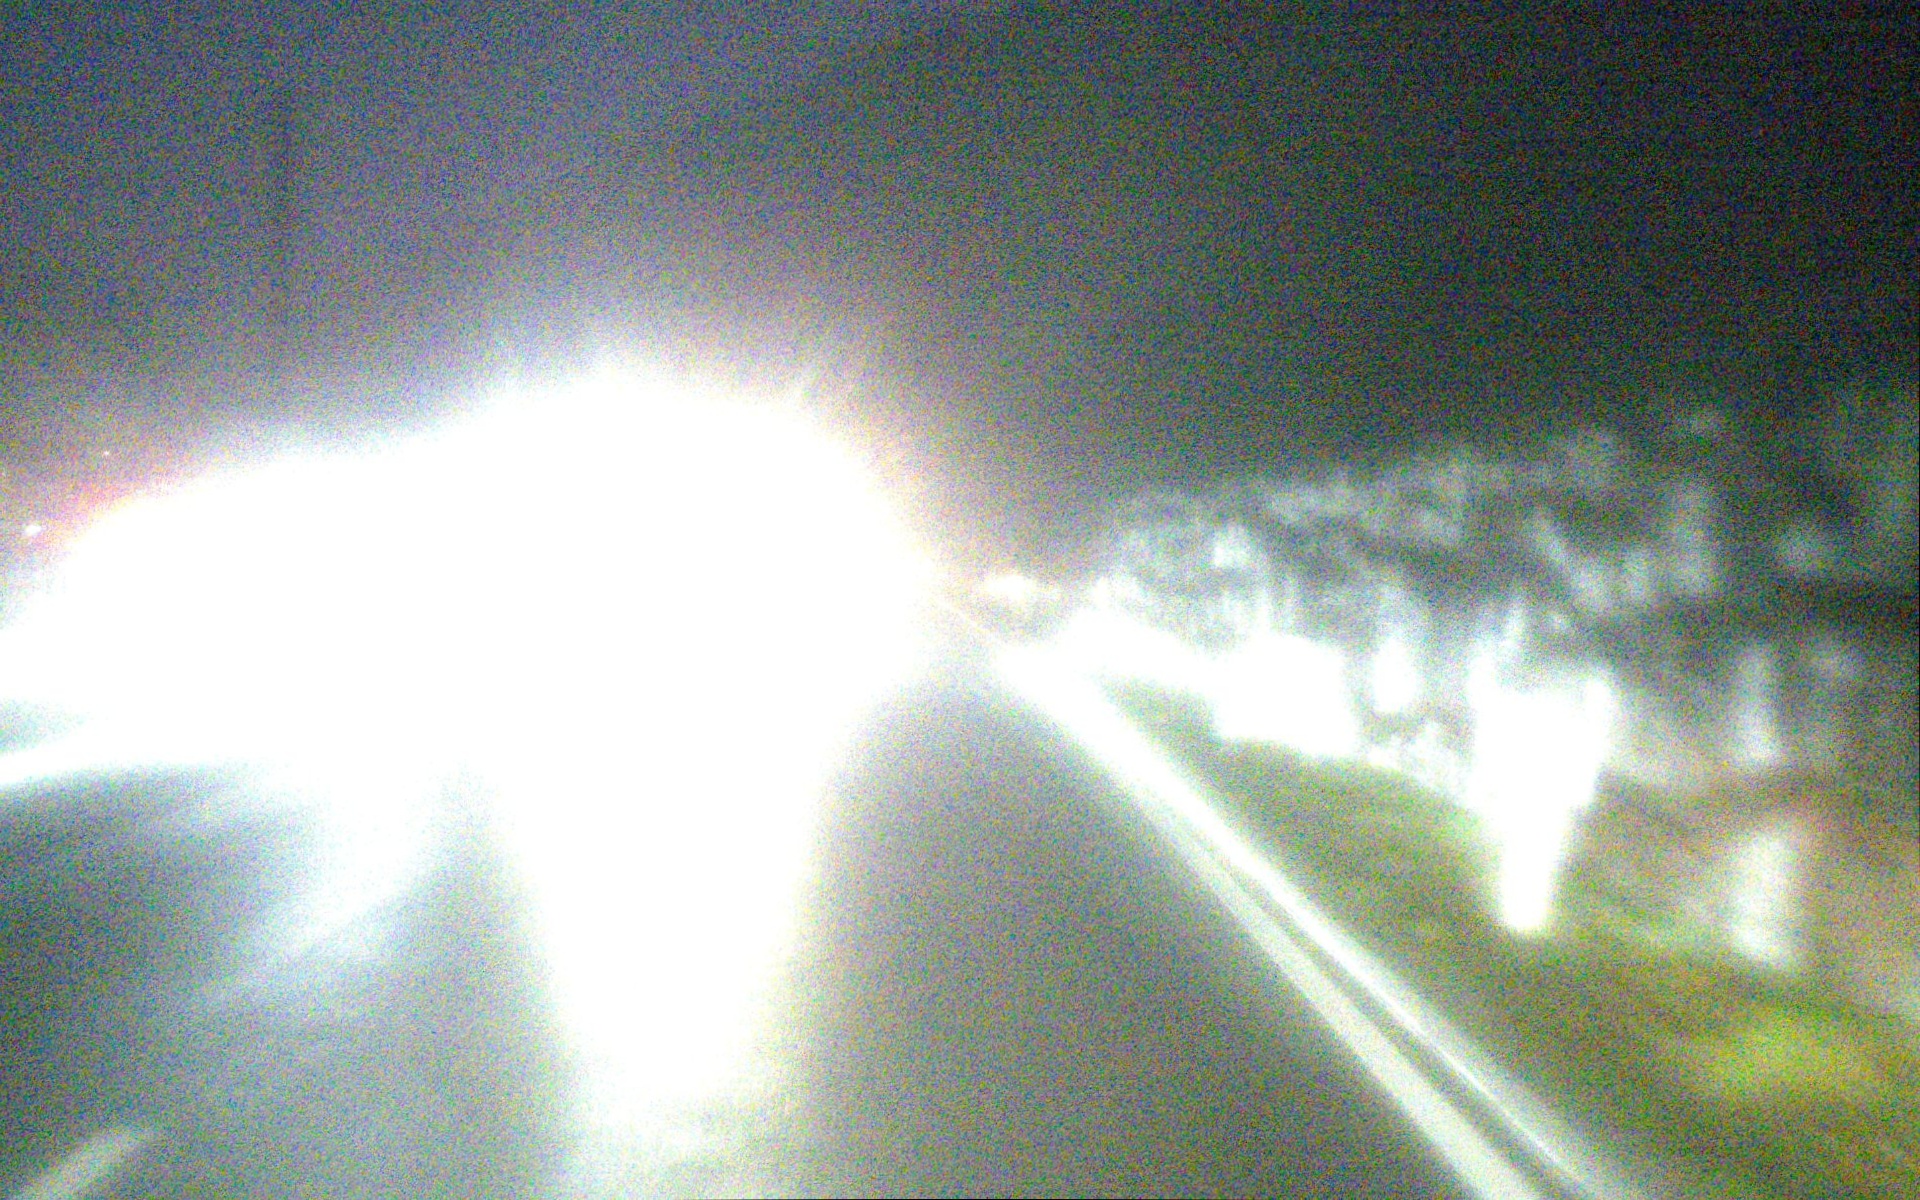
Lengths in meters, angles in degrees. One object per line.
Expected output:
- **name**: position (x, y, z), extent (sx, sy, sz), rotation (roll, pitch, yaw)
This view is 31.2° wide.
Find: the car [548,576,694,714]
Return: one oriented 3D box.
- **car**: position (-5.425, 0.719, 55.425), extent (1.993, 2.007, 4.000), rotation (4, -1, -2)
